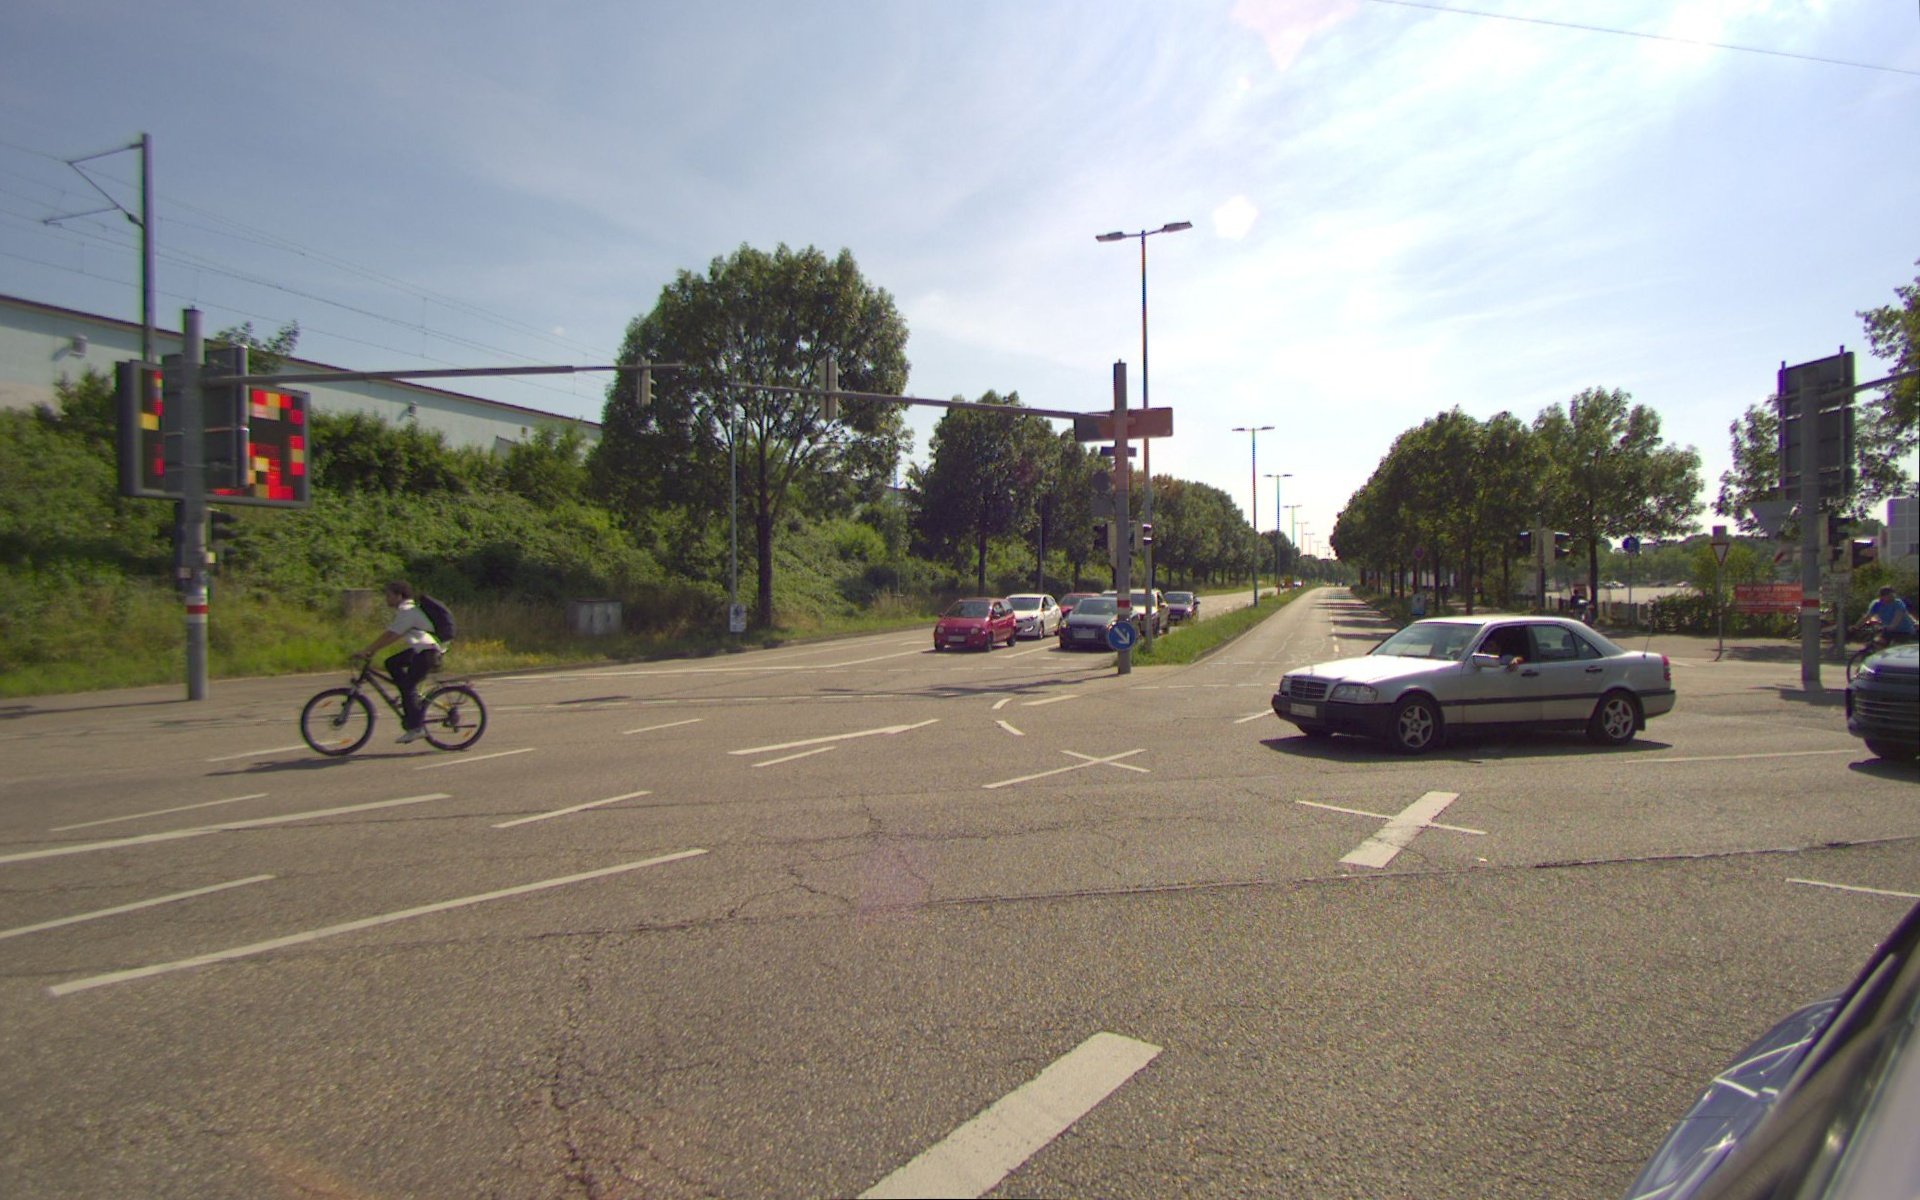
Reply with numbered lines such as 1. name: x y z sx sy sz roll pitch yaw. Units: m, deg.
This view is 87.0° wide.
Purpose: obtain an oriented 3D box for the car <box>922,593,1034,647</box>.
1. car: 0.599 0.558 28.932 1.699 1.411 3.963 -1 -1 26

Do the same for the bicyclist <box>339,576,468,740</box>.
1. bicyclist: -5.894 0.592 10.786 1.045 1.655 0.808 0 -1 -16

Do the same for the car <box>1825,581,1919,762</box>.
1. car: 11.086 0.607 9.570 4.871 1.628 1.953 -1 1 -14

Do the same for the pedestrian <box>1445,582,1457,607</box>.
1. pedestrian: 34.104 -0.396 70.331 0.623 1.731 0.763 -1 0 19

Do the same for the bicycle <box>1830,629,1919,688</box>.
1. bicycle: 15.296 0.934 16.482 2.252 0.845 0.548 -1 1 -15

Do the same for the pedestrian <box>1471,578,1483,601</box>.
1. pedestrian: 34.904 -0.695 68.373 0.571 1.543 0.874 -1 0 19

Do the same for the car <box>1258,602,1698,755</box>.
1. car: 5.742 0.769 11.333 4.348 1.409 1.720 -1 0 -15

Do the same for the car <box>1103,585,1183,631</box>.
1. car: 6.519 0.295 35.677 1.699 1.527 4.173 -1 -1 26

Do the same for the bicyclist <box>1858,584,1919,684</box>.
1. bicyclist: 15.246 0.533 16.466 0.890 1.586 0.548 -1 1 -15

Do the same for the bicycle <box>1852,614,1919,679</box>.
1. bicycle: 17.694 0.848 18.761 0.762 1.066 2.390 -1 1 16

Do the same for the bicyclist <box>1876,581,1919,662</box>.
1. bicyclist: 17.676 0.381 18.703 0.762 1.453 0.917 -1 1 16

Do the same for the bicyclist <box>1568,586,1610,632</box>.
1. bicyclist: 20.668 0.285 33.271 0.871 1.461 0.962 -1 1 14

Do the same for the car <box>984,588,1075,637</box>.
1. car: 2.391 0.423 33.896 1.699 1.527 3.963 -1 -1 26

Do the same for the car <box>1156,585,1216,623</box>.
1. car: 9.881 0.188 44.048 1.699 1.527 3.963 -1 -1 26

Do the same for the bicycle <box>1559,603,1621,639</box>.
1. bicycle: 20.689 0.663 33.296 0.871 1.072 2.761 -1 1 13

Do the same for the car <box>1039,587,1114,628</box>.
1. car: 4.678 0.306 40.199 1.699 1.527 3.963 -1 -1 26

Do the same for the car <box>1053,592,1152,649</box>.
1. car: 4.221 0.561 29.530 1.699 1.527 3.963 1 0 26

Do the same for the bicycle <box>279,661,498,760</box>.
1. bicycle: -5.993 1.142 10.741 1.886 0.904 0.819 -1 -1 -16
